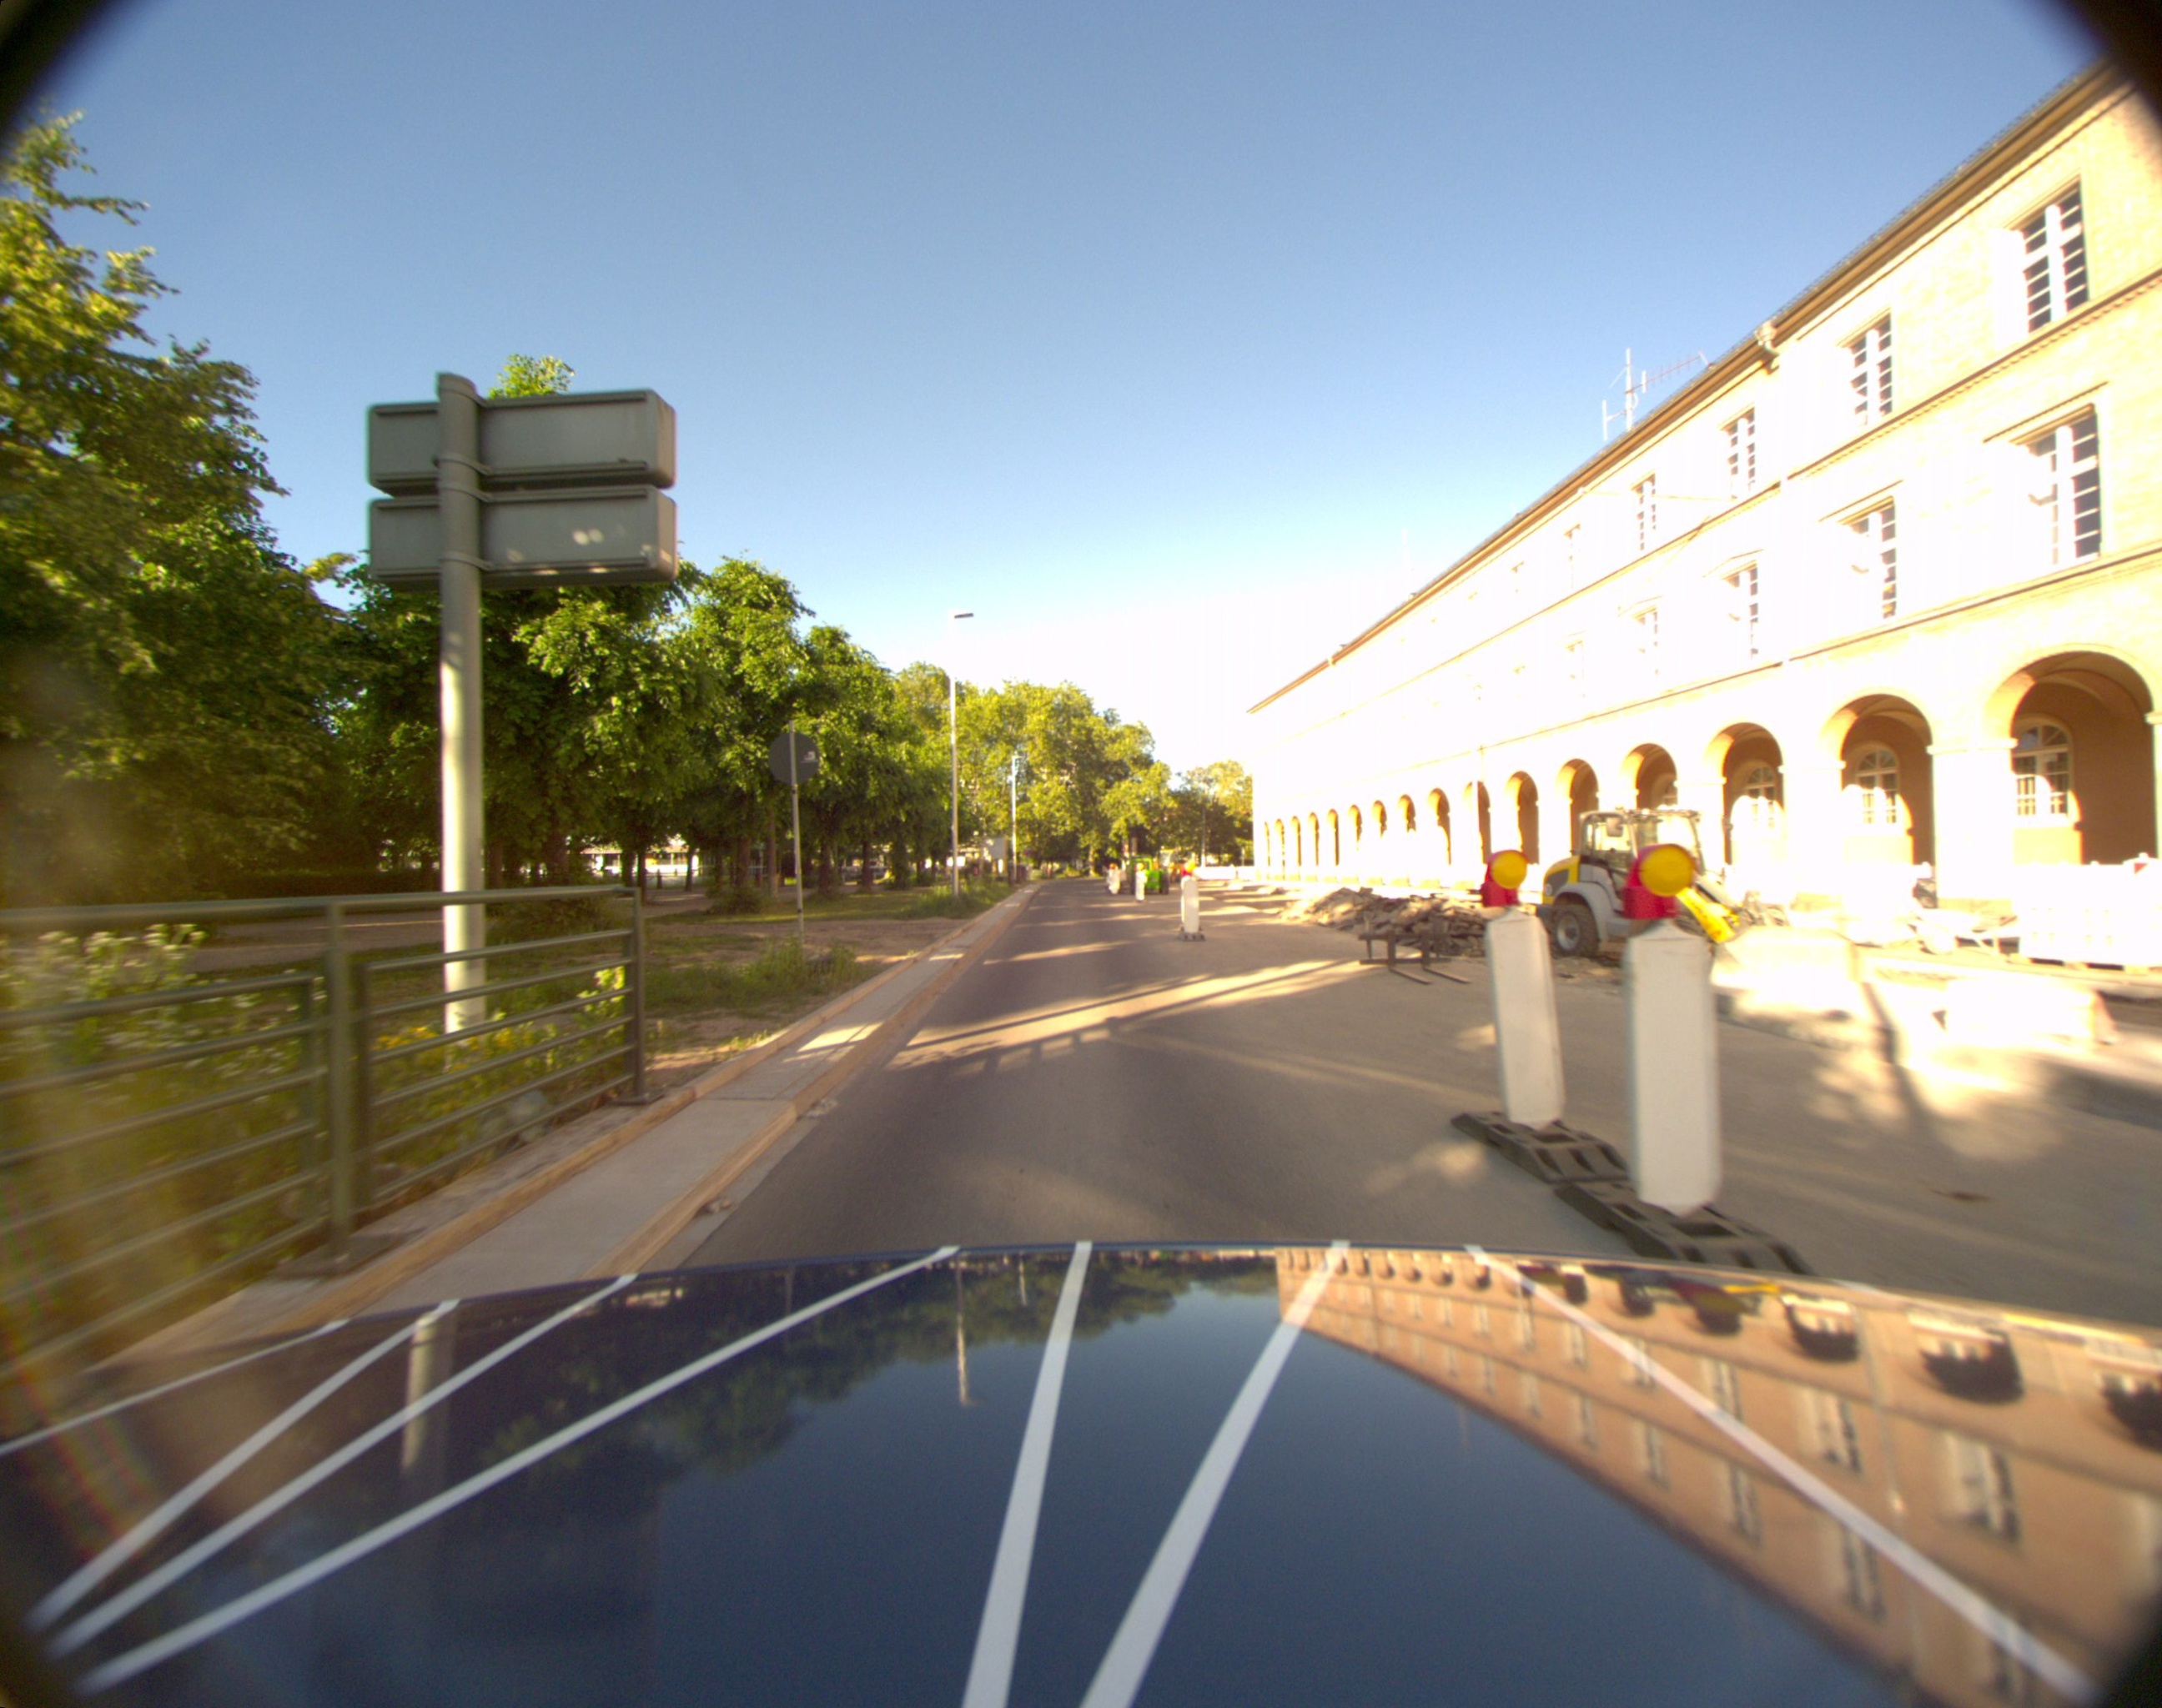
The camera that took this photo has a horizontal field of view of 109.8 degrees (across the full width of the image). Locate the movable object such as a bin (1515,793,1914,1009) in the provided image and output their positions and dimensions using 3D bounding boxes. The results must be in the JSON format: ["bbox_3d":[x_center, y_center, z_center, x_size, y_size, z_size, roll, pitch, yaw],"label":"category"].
[{"bbox_3d":[8.500,0.549,10.892,1.795,2.438,4.535,0,0,-3],"label":"movable object such as a bin"}]

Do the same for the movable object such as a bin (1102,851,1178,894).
[{"bbox_3d":[2.880,0.898,37.461,3.245,2.065,2.108,0,0,-13],"label":"movable object such as a bin"}]

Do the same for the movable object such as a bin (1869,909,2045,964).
[{"bbox_3d":[12.943,1.201,11.288,1.190,0.694,1.240,0,0,-2],"label":"movable object such as a bin"}]
